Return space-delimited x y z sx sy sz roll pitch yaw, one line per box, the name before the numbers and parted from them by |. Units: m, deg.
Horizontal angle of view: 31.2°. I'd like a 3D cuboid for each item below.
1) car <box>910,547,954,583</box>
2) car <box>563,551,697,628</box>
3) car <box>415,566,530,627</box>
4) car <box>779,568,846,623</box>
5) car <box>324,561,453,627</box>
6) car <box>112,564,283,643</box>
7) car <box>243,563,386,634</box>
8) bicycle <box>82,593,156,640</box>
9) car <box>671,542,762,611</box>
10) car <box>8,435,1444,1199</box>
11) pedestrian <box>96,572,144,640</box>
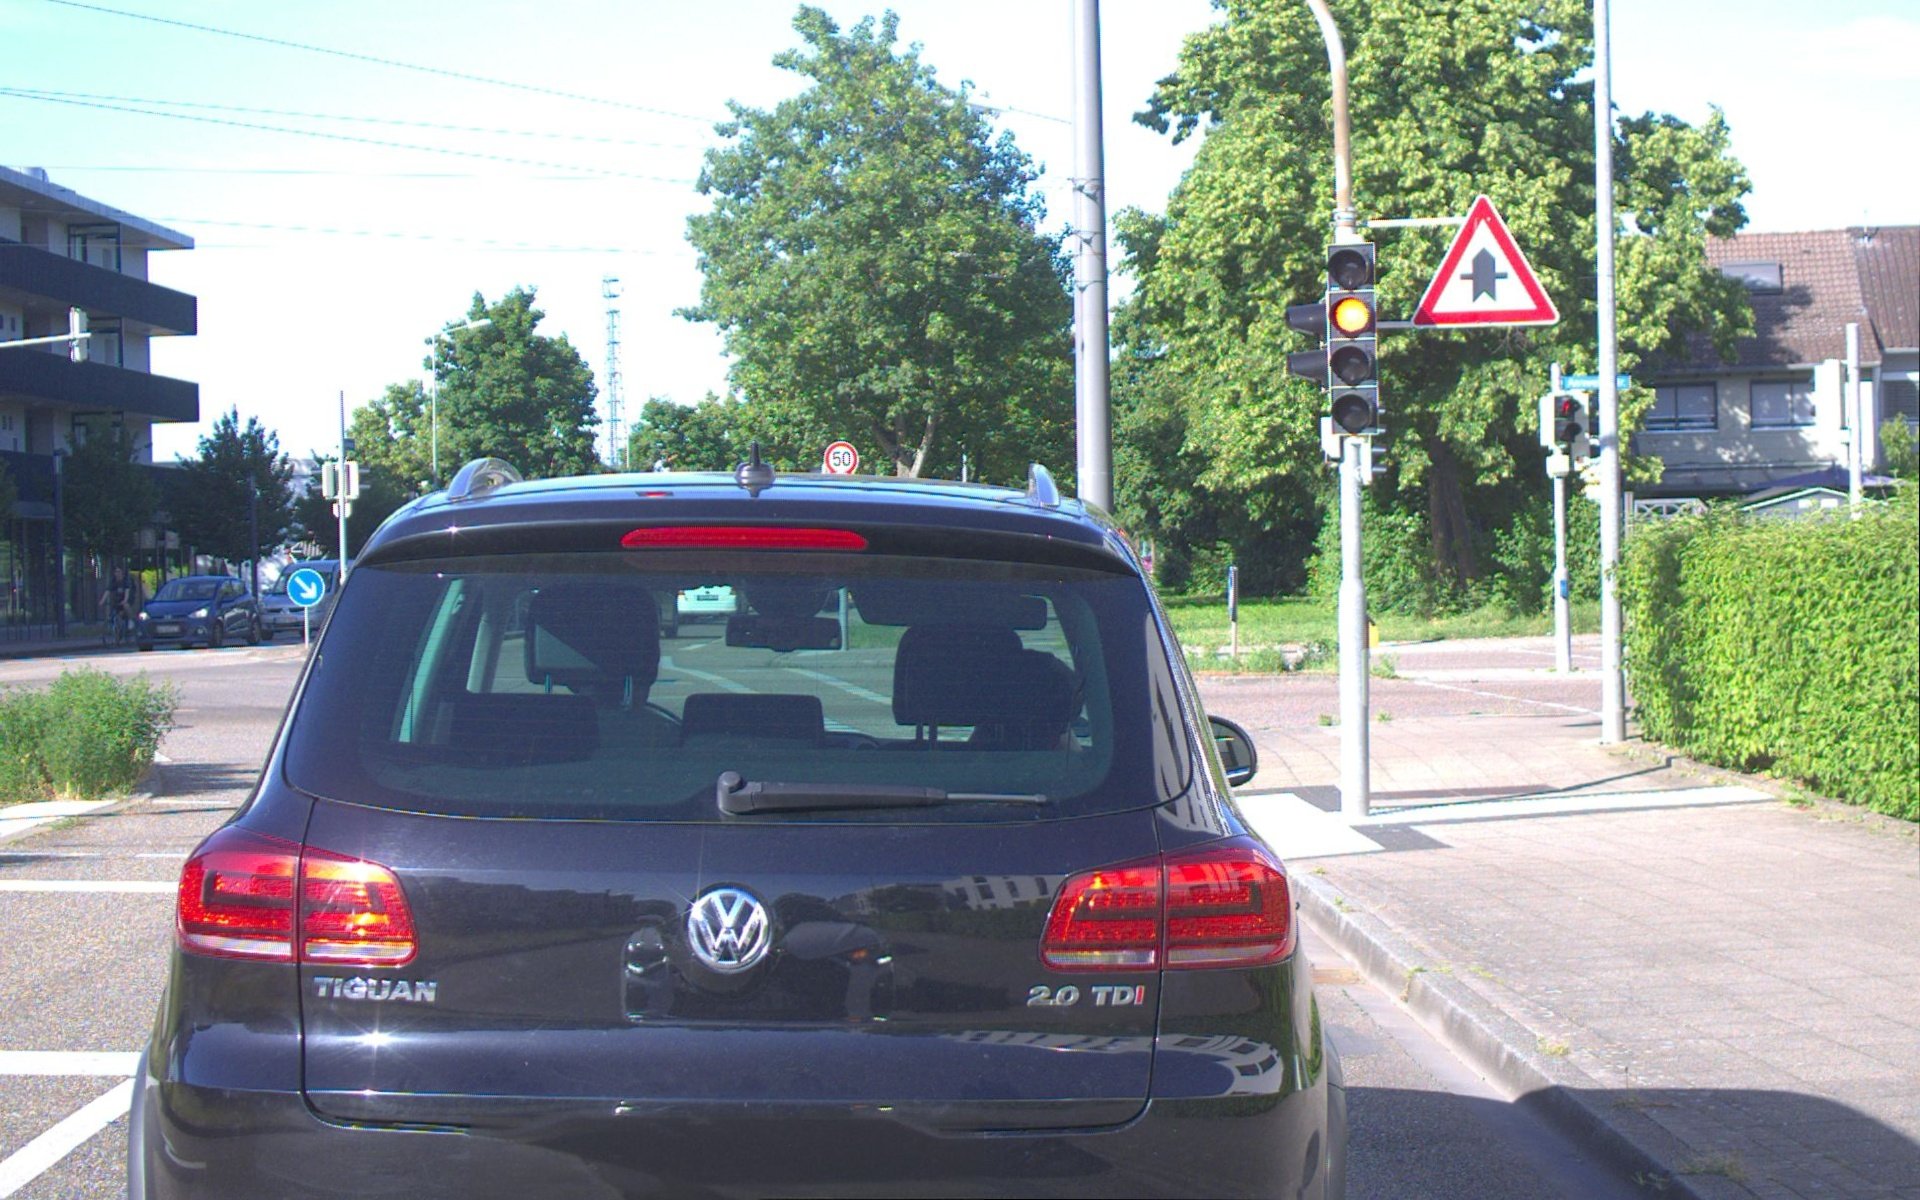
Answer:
car | -1.354 -1.696 165.831 1.993 1.678 4.000 1 1 -2
car | -6.737 -0.236 70.537 1.864 1.480 4.109 -1 1 7
car | -13.009 -0.115 91.979 1.994 1.569 4.338 1 1 7
car | -4.992 -0.173 116.895 1.993 1.830 4.000 1 1 1
car | -14.108 -0.159 85.115 1.994 1.569 4.338 1 1 7
car | -15.802 0.051 71.467 1.994 1.569 4.337 1 1 9
car | -14.783 -0.047 78.981 1.994 1.569 4.338 1 1 7
bicycle | -18.361 0.353 75.131 0.771 0.986 2.431 1 1 7
car | -6.229 -0.615 88.263 1.864 1.714 3.686 -1 1 3
car | -0.333 0.593 6.509 1.869 1.632 4.000 1 1 -1
pedestrian | -18.349 0.120 75.125 0.711 1.468 0.953 1 0 7
